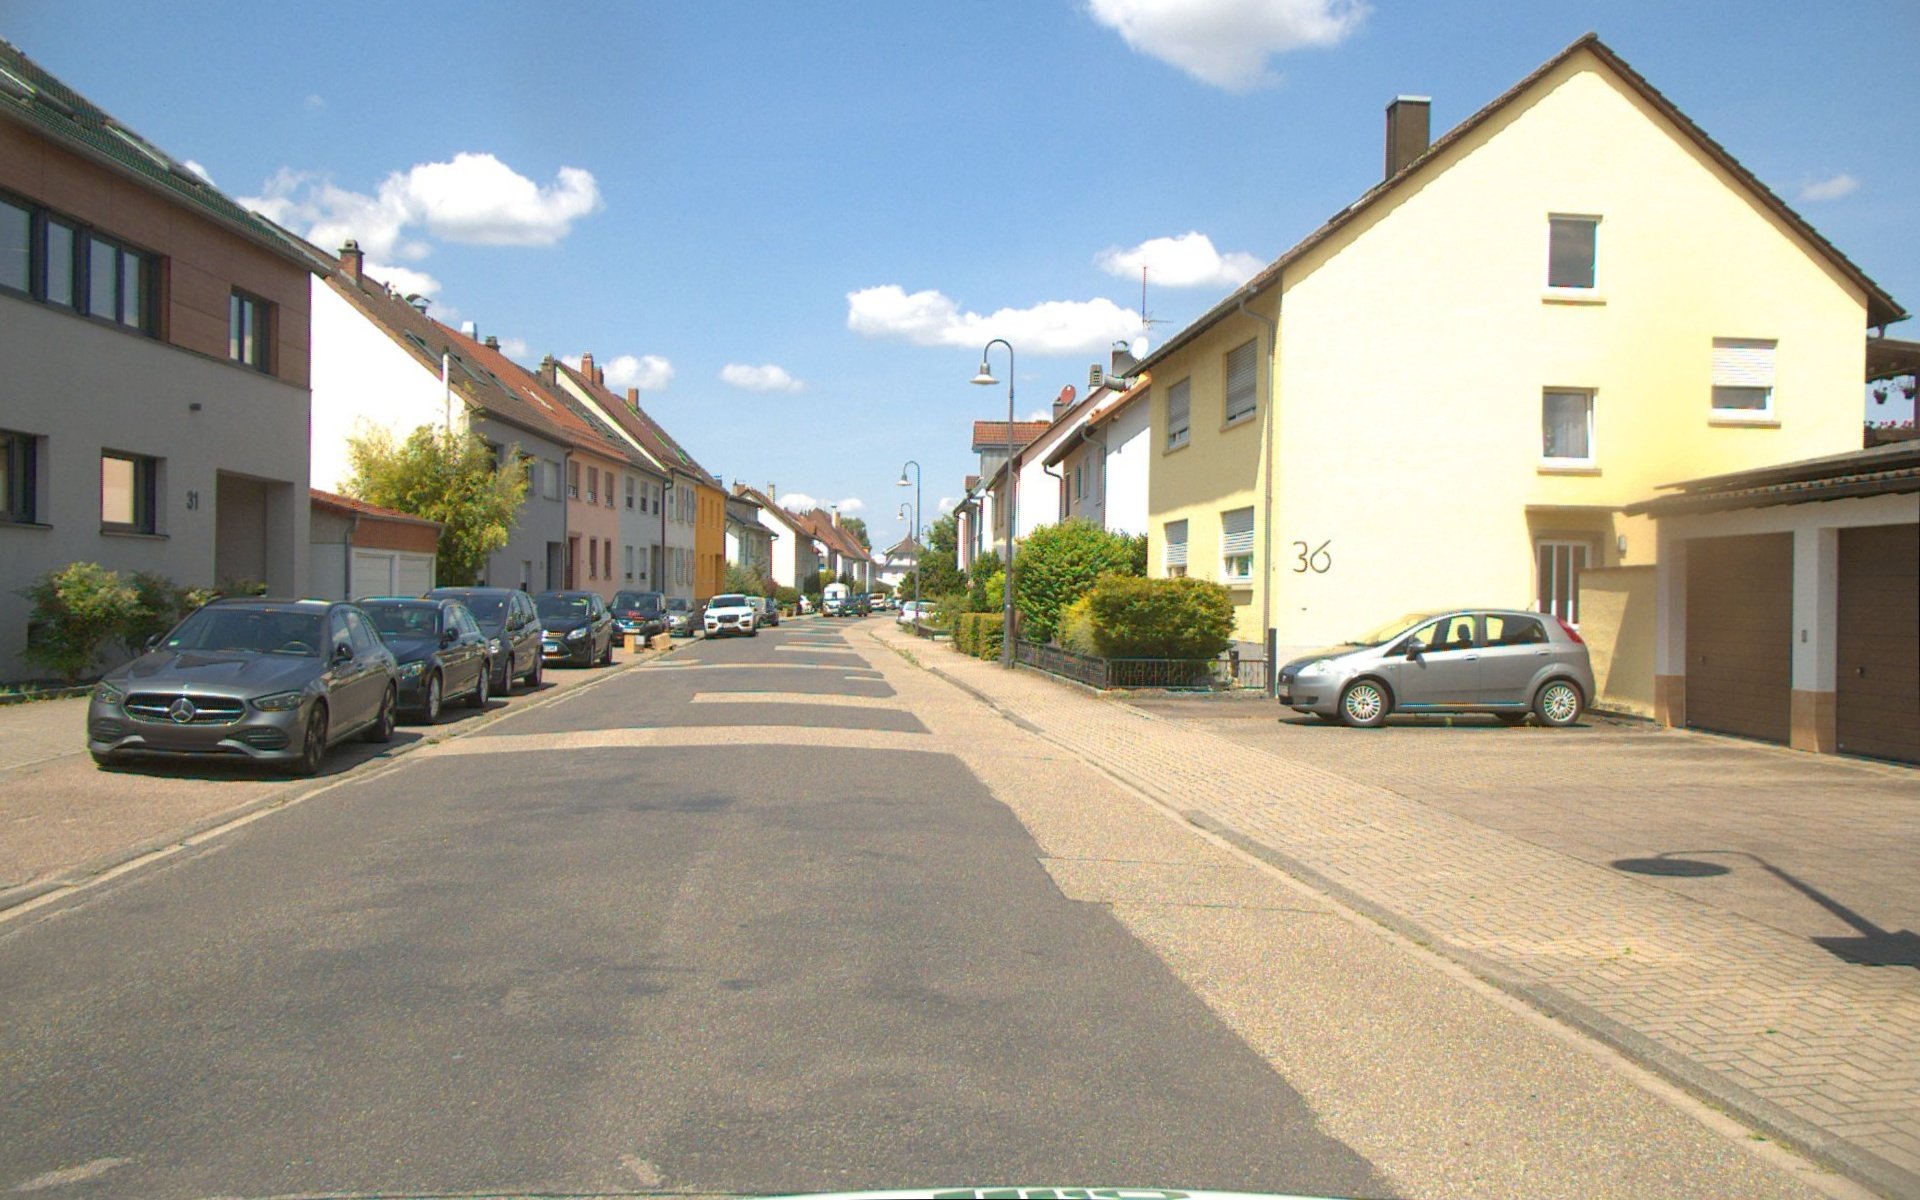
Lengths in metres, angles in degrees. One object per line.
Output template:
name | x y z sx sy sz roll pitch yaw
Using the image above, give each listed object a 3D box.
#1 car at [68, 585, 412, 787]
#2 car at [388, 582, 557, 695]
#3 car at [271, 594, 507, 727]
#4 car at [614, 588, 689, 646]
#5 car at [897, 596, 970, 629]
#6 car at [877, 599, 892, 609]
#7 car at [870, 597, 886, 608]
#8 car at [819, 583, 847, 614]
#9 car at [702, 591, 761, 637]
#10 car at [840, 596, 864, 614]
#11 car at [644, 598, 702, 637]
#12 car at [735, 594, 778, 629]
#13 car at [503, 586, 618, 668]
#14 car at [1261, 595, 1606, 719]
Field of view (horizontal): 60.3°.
car | -6.548 0.692 15.563 1.782 1.458 4.133 4 1 -7
car | -7.784 0.578 26.793 1.744 1.637 3.996 2 0 -4
car | -7.157 0.697 21.158 1.780 1.458 4.136 2 0 -4
car | -9.496 0.506 51.179 1.775 1.637 3.996 2 0 -4
car | -1.315 0.594 80.948 3.454 1.490 1.627 2 -1 -4
car | -9.409 0.492 206.507 1.657 1.152 3.770 2 -1 -1
car | -9.216 0.291 187.036 1.657 1.152 3.770 2 -1 -1
car | -10.313 -0.111 134.453 2.003 2.352 3.770 2 -1 -1
car | -8.861 0.528 64.421 1.813 1.688 3.998 2 0 -2
car | -8.284 0.396 127.319 1.657 1.365 3.770 2 -1 -1
car | -10.941 0.646 63.260 1.638 1.359 3.721 2 0 -2
car | -10.480 0.561 85.405 1.813 1.688 3.998 2 0 -2
car | -8.728 0.551 36.422 1.744 1.637 3.996 2 0 -4
car | 6.009 0.691 21.240 3.909 1.499 1.745 0 0 -5
